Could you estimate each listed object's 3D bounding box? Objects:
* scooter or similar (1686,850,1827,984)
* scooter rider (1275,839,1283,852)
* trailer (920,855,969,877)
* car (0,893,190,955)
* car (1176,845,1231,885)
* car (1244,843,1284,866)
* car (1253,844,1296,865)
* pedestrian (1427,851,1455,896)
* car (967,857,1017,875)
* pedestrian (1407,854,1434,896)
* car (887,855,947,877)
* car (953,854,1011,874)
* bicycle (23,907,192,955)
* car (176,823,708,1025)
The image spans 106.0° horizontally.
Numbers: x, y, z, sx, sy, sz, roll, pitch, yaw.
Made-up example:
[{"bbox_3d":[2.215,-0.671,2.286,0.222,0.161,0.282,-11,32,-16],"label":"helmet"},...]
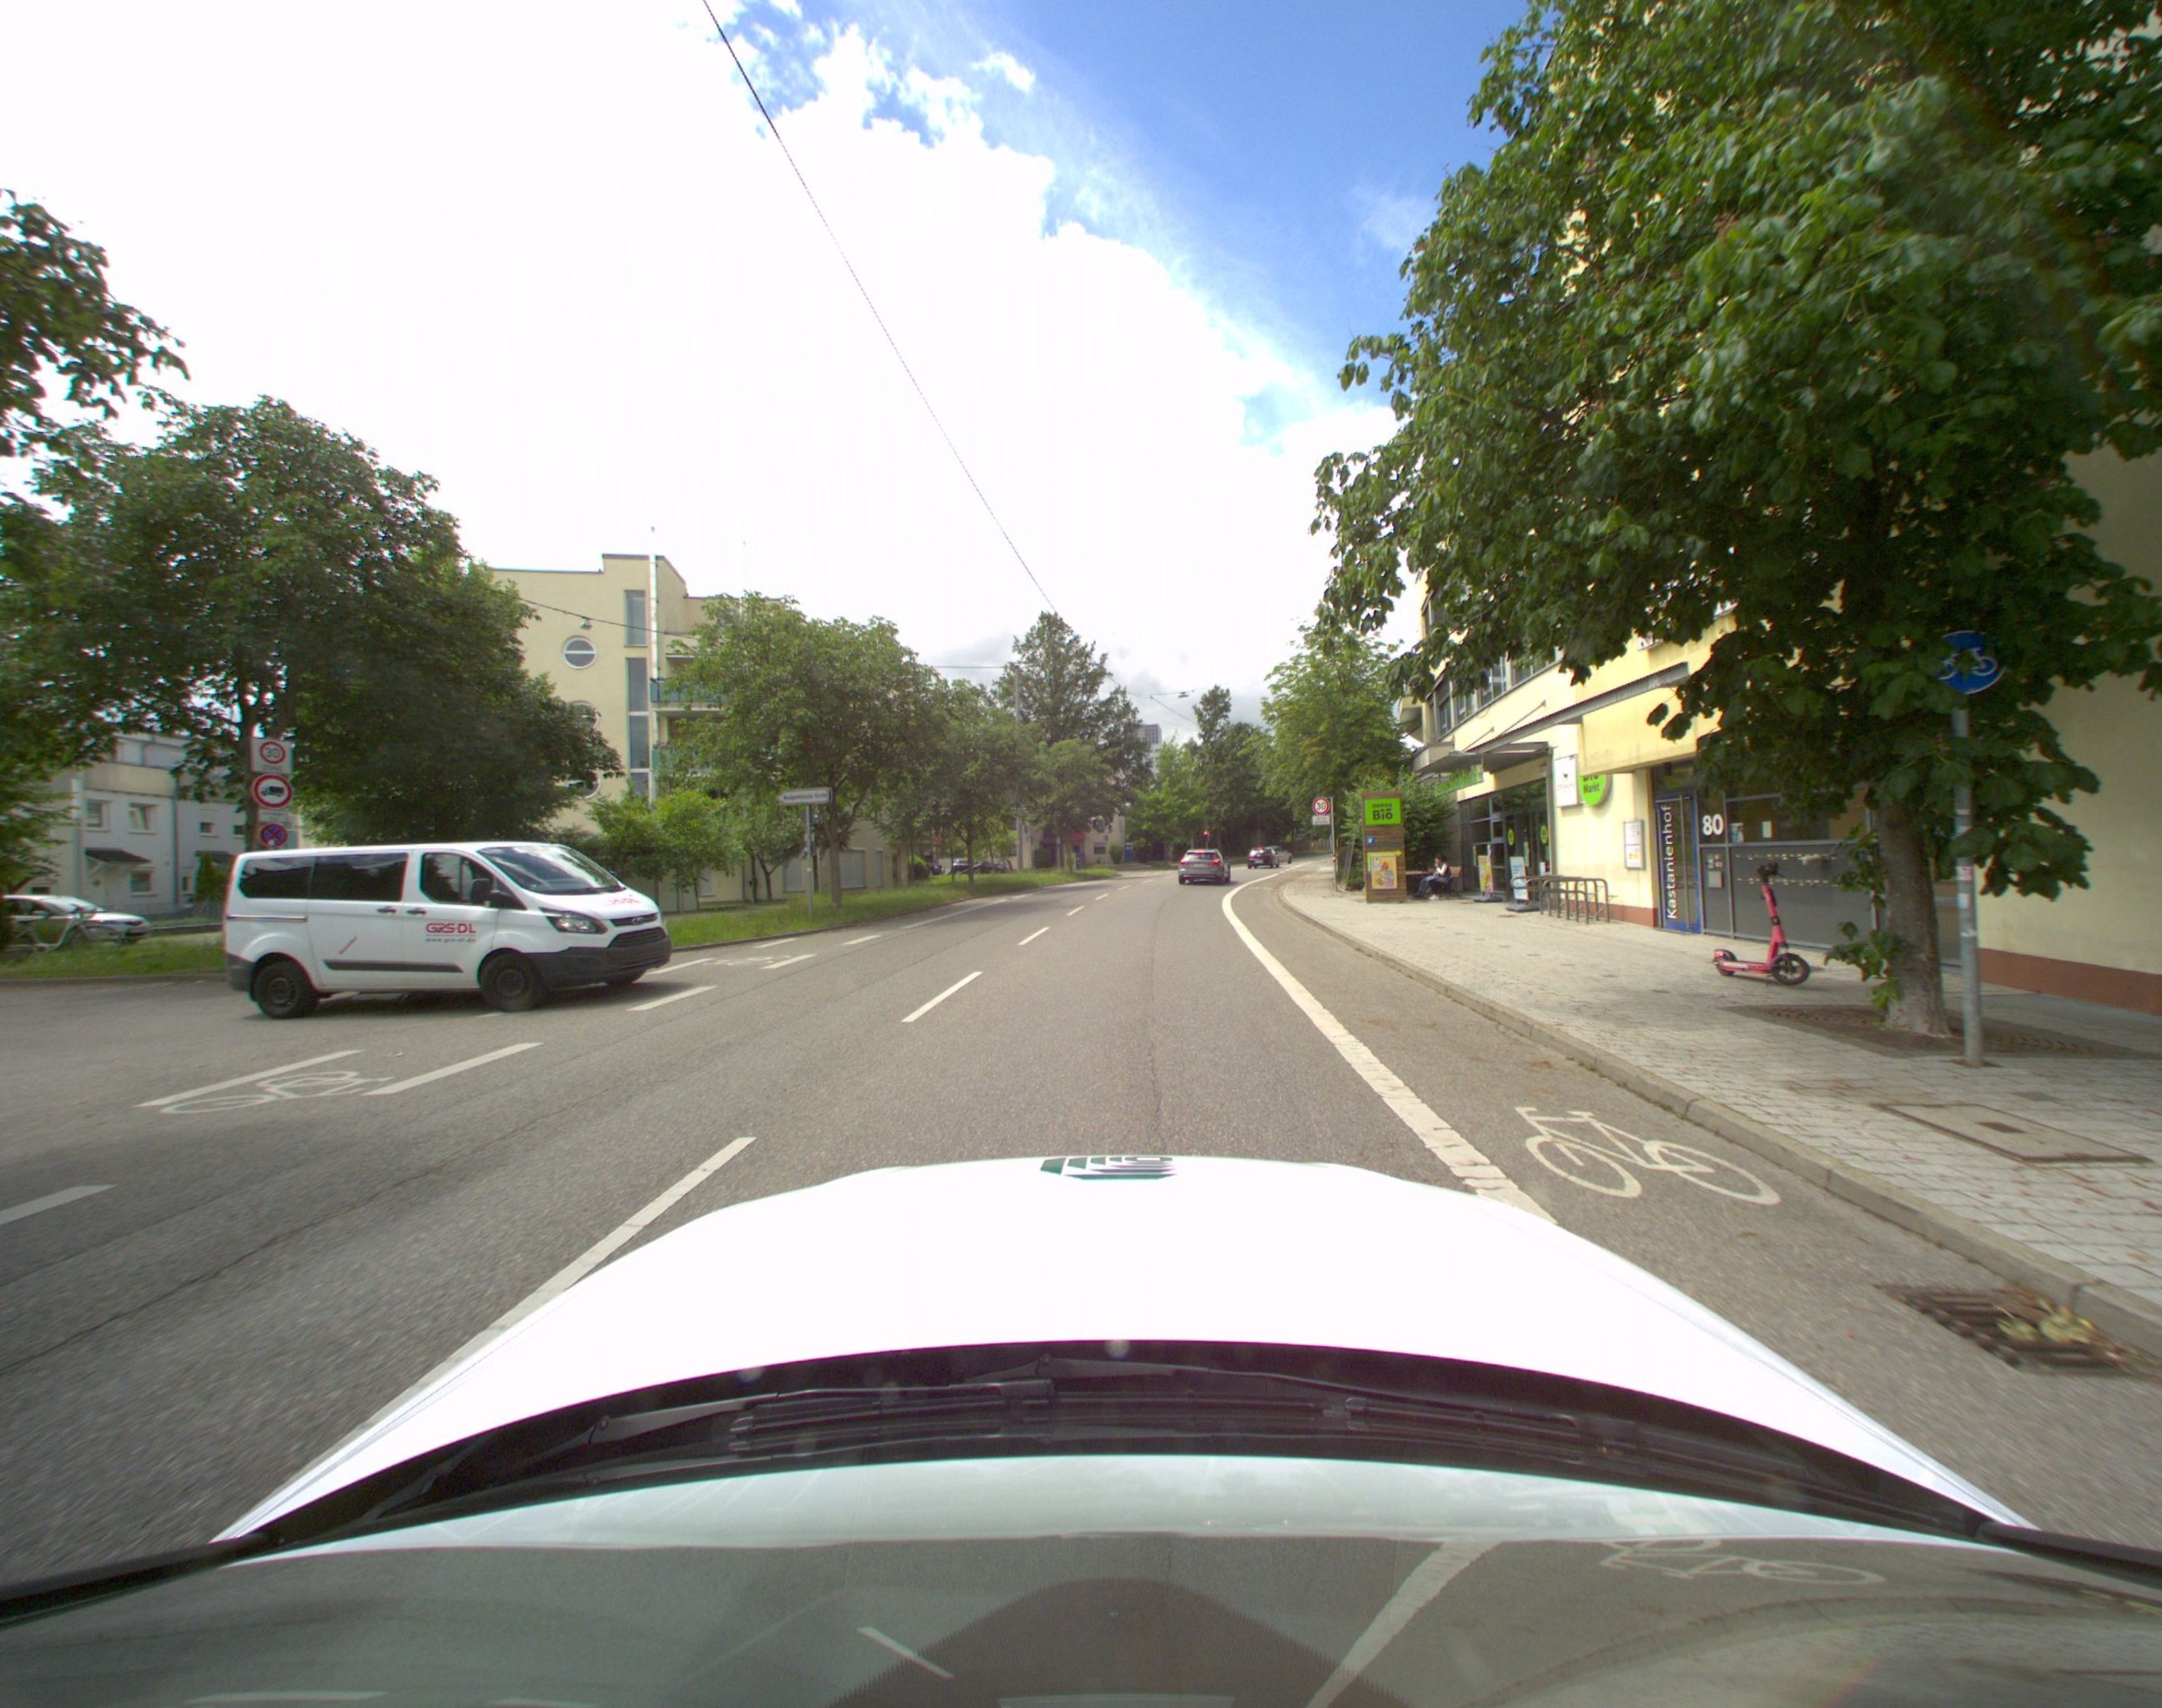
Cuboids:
[{"bbox_3d":[7.214,0.630,8.774,0.379,1.316,1.461,-1,-1,5],"label":"scooter or similar"},{"bbox_3d":[25.512,-1.112,104.925,0.707,1.727,0.676,-1,-1,-18],"label":"scooter rider"},{"bbox_3d":[-12.025,1.069,71.828,3.887,1.799,1.632,-1,-4,5],"label":"trailer"},{"bbox_3d":[-27.696,1.925,22.703,3.398,1.397,1.829,-4,-1,-8],"label":"car"},{"bbox_3d":[5.334,0.421,35.052,1.942,1.523,4.346,1,1,14],"label":"car"},{"bbox_3d":[12.605,-0.002,55.829,1.788,1.523,4.354,1,1,25],"label":"car"},{"bbox_3d":[15.883,0.062,66.737,1.787,1.616,4.356,1,0,38],"label":"car"},{"bbox_3d":[9.886,0.541,22.396,0.573,1.204,0.504,-1,-1,8],"label":"pedestrian"},{"bbox_3d":[-7.780,1.078,71.276,4.055,1.400,1.798,-1,-4,7],"label":"car"},{"bbox_3d":[9.728,0.598,23.332,0.520,1.181,0.501,-1,-1,-2],"label":"pedestrian"},{"bbox_3d":[-12.694,0.905,63.177,4.153,1.523,1.905,-2,-1,7],"label":"car"},{"bbox_3d":[-7.524,0.767,62.283,4.055,1.400,1.798,-1,-4,7],"label":"car"},{"bbox_3d":[-20.249,1.584,17.007,2.233,0.860,0.459,-1,-1,-32],"label":"bicycle"},{"bbox_3d":[-7.838,0.815,10.292,5.184,1.993,2.113,-4,0,7],"label":"car"}]
